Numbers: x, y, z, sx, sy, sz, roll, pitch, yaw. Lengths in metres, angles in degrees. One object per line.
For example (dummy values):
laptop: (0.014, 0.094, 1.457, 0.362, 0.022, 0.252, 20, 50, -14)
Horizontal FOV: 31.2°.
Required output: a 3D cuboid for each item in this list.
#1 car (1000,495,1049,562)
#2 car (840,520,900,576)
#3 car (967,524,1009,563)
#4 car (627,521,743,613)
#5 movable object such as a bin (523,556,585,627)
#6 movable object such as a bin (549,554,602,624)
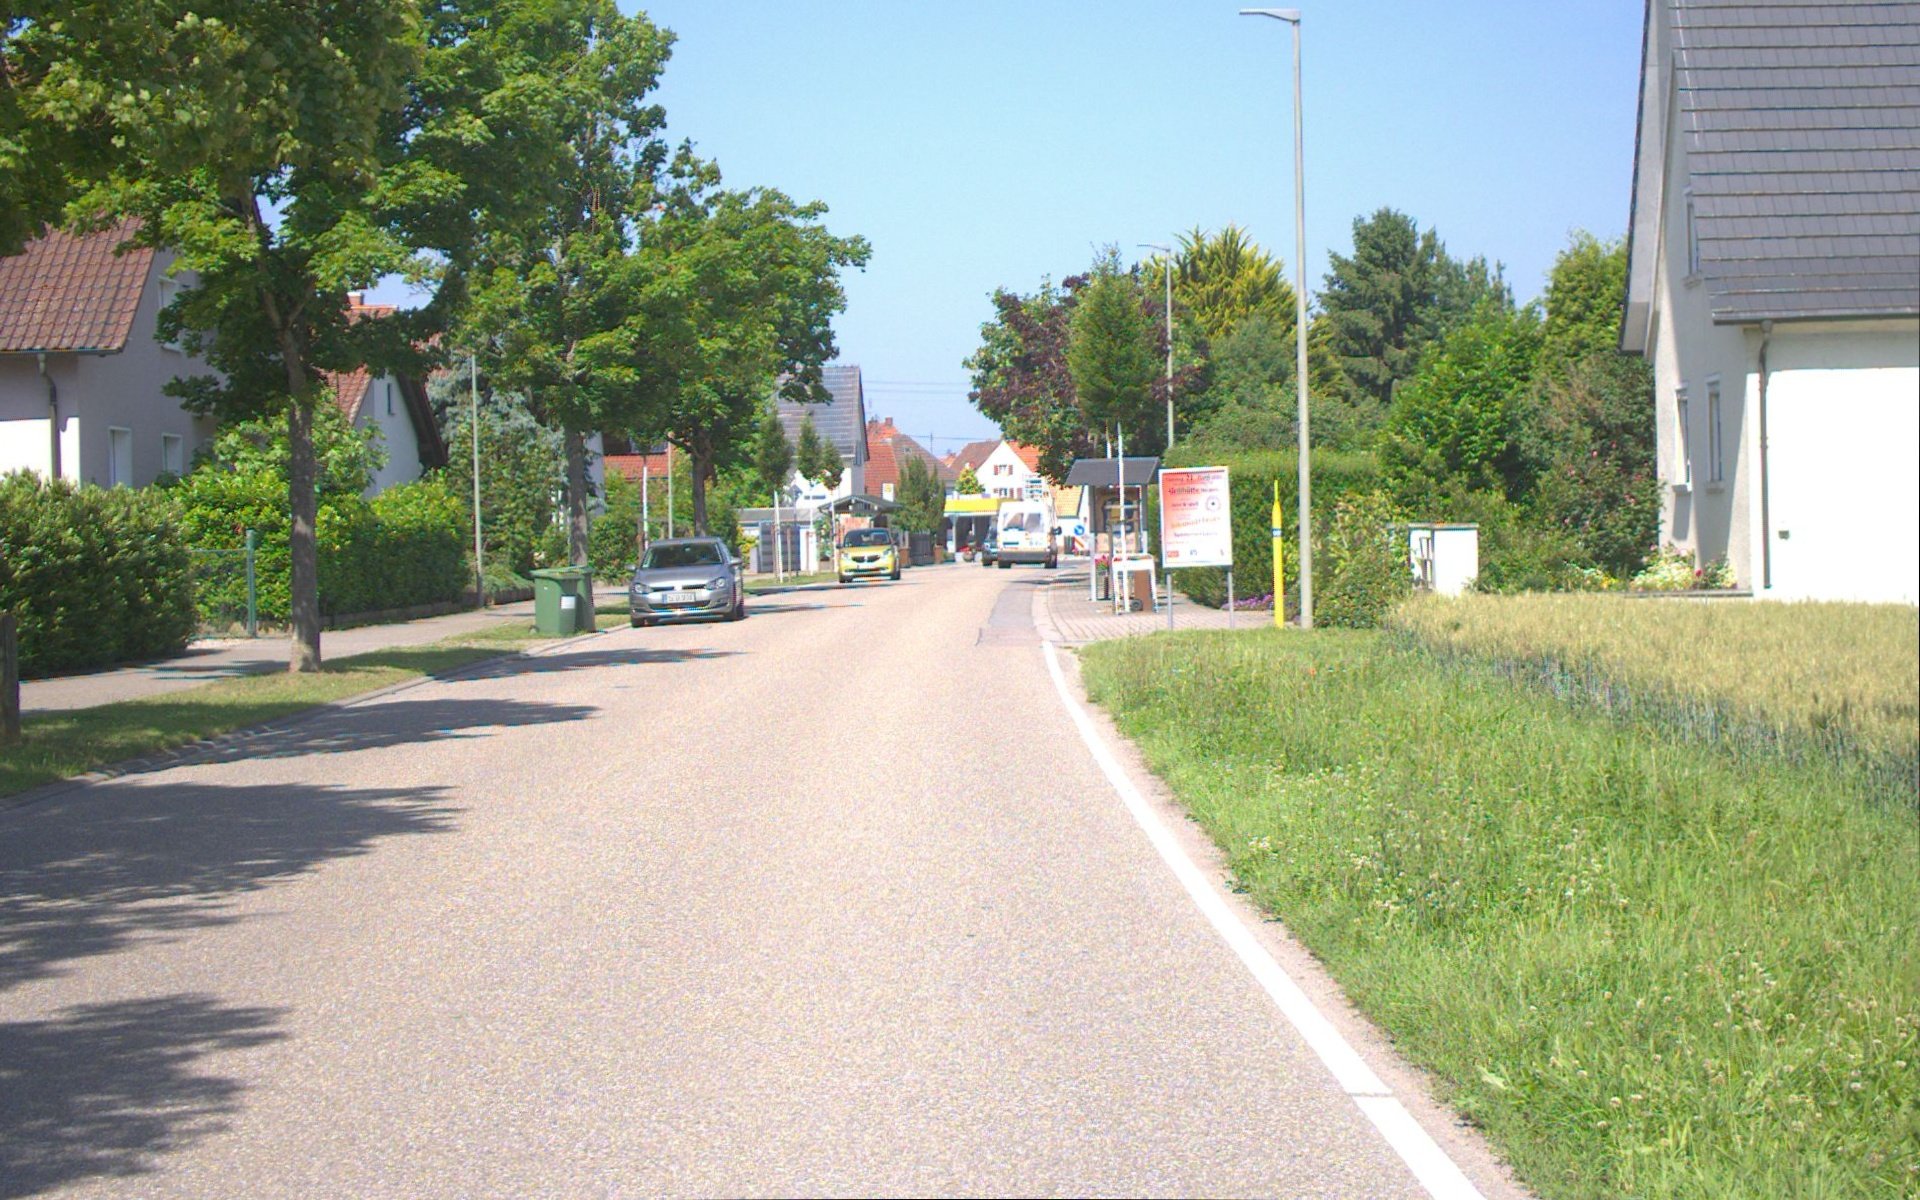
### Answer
car: (2.392, -2.682, 128.545, 1.738, 2.424, 4.374, -2, 1, 1)
car: (-2.643, -1.523, 100.333, 1.666, 1.519, 3.443, -2, 1, -2)
car: (1.328, -2.714, 164.110, 1.835, 1.747, 3.796, -2, 1, -1)
car: (-4.668, -0.582, 58.766, 1.647, 1.419, 4.081, -3, 1, -1)
movable object such as a bin: (-6.306, -0.135, 53.406, 0.714, 1.075, 0.639, -1, 1, 26)
movable object such as a bin: (-6.039, -0.178, 54.008, 0.575, 1.075, 0.598, -1, 1, 22)
